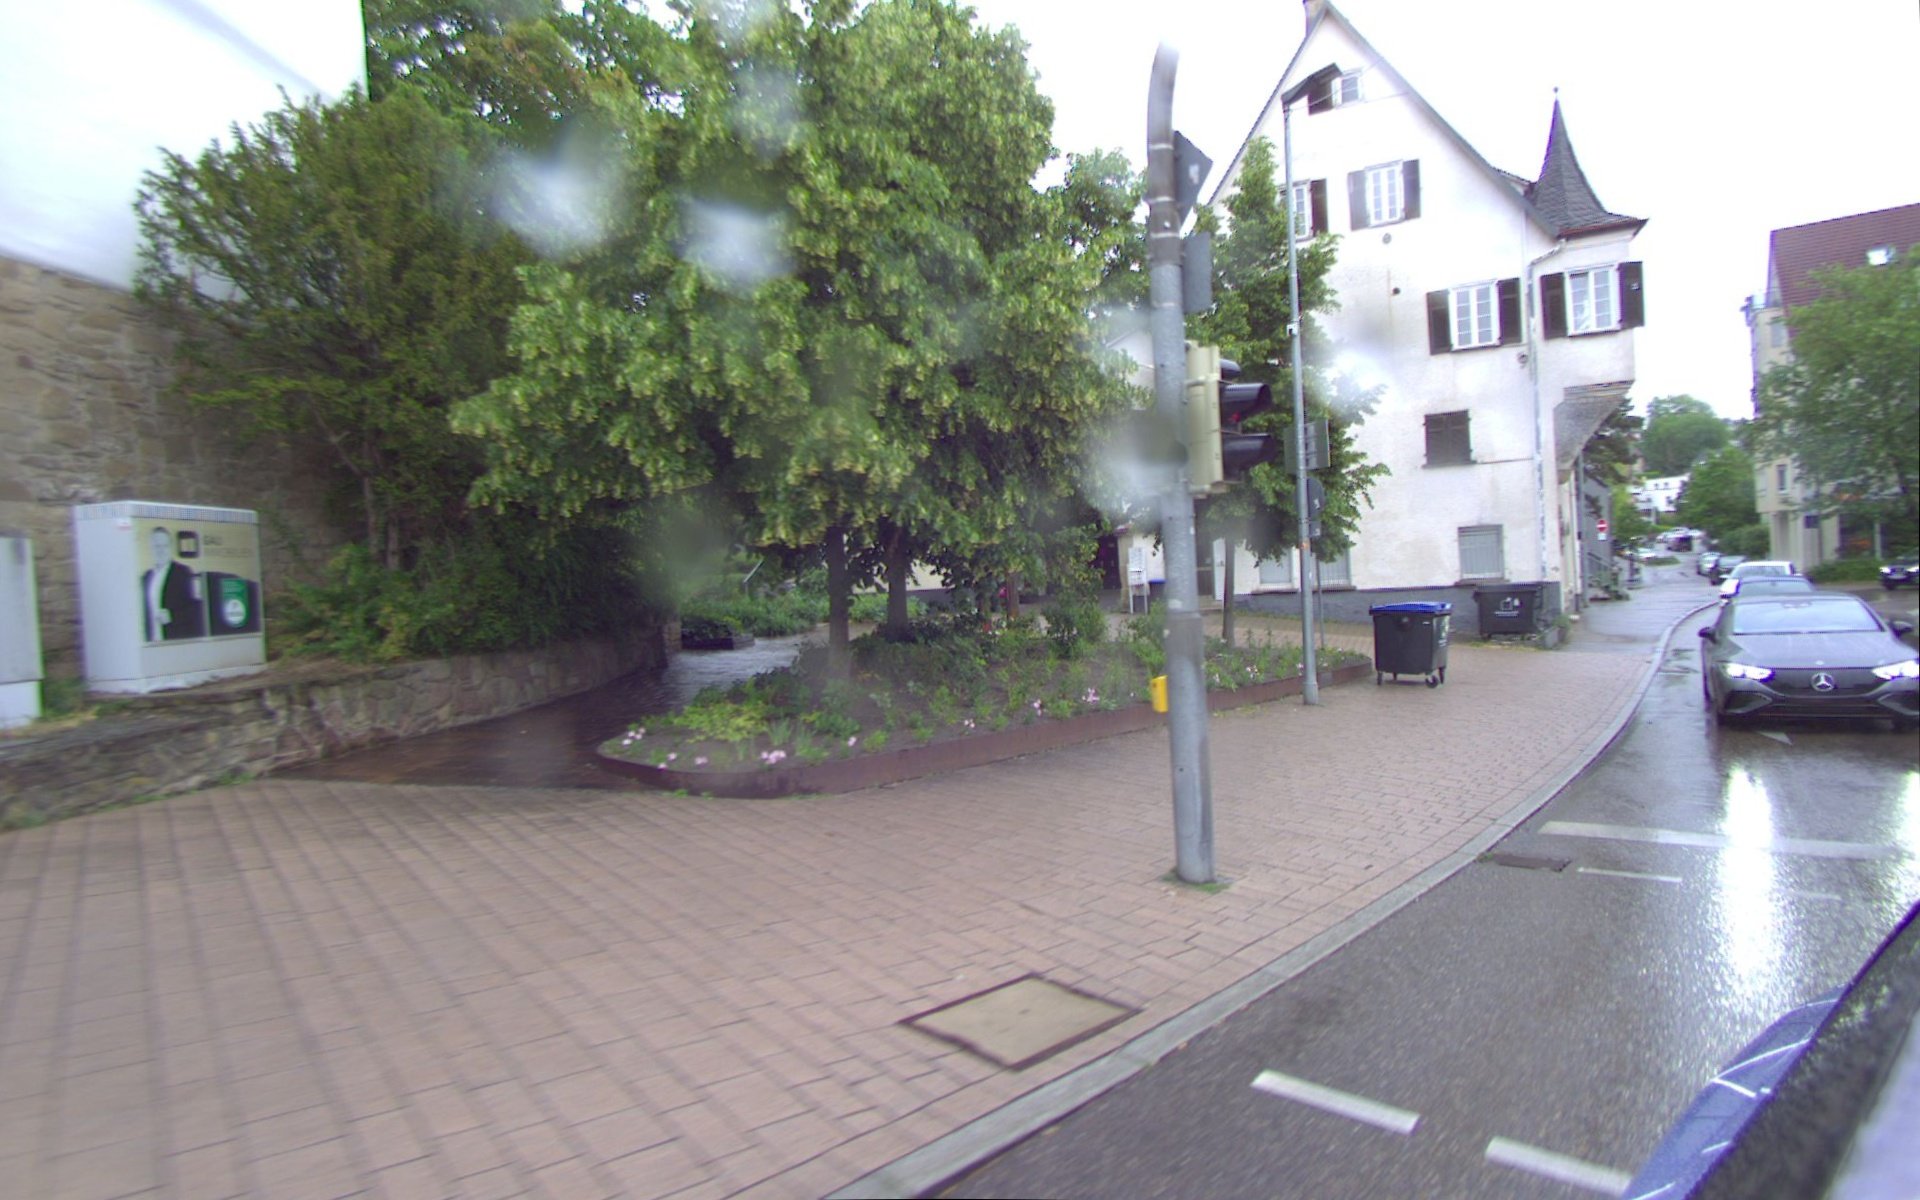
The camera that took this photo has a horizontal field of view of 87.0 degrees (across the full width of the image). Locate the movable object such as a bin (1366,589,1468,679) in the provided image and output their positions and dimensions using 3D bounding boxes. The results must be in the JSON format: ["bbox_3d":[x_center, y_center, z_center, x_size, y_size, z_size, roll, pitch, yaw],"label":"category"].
[{"bbox_3d":[7.357,0.520,16.301,1.154,1.329,1.169,-2,2,43],"label":"movable object such as a bin"}]

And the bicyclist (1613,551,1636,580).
[{"bbox_3d":[43.265,-2.253,65.901,0.679,1.042,1.505,16,-29,20],"label":"bicyclist"}]

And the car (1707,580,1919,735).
[{"bbox_3d":[10.568,0.572,12.551,1.987,1.511,4.260,-1,1,36],"label":"car"}]

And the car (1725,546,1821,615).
[{"bbox_3d":[24.357,-0.631,30.279,3.941,1.582,1.809,-10,8,-44],"label":"car"}]

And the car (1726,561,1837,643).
[{"bbox_3d":[18.536,-0.012,22.775,1.767,1.551,4.315,-1,2,41],"label":"car"}]

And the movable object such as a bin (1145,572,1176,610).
[{"bbox_3d":[5.308,-0.240,26.826,0.652,0.932,0.588,1,7,28],"label":"movable object such as a bin"}]

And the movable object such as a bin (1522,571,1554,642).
[{"bbox_3d":[12.423,0.135,21.767,0.407,1.459,0.642,-2,3,13],"label":"movable object such as a bin"}]

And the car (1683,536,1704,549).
[{"bbox_3d":[96.763,-7.598,133.531,1.991,1.593,3.943,-1,1,40],"label":"car"}]

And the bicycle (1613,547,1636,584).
[{"bbox_3d":[43.446,-2.269,66.170,0.757,2.103,1.026,16,-29,19],"label":"bicycle"}]
